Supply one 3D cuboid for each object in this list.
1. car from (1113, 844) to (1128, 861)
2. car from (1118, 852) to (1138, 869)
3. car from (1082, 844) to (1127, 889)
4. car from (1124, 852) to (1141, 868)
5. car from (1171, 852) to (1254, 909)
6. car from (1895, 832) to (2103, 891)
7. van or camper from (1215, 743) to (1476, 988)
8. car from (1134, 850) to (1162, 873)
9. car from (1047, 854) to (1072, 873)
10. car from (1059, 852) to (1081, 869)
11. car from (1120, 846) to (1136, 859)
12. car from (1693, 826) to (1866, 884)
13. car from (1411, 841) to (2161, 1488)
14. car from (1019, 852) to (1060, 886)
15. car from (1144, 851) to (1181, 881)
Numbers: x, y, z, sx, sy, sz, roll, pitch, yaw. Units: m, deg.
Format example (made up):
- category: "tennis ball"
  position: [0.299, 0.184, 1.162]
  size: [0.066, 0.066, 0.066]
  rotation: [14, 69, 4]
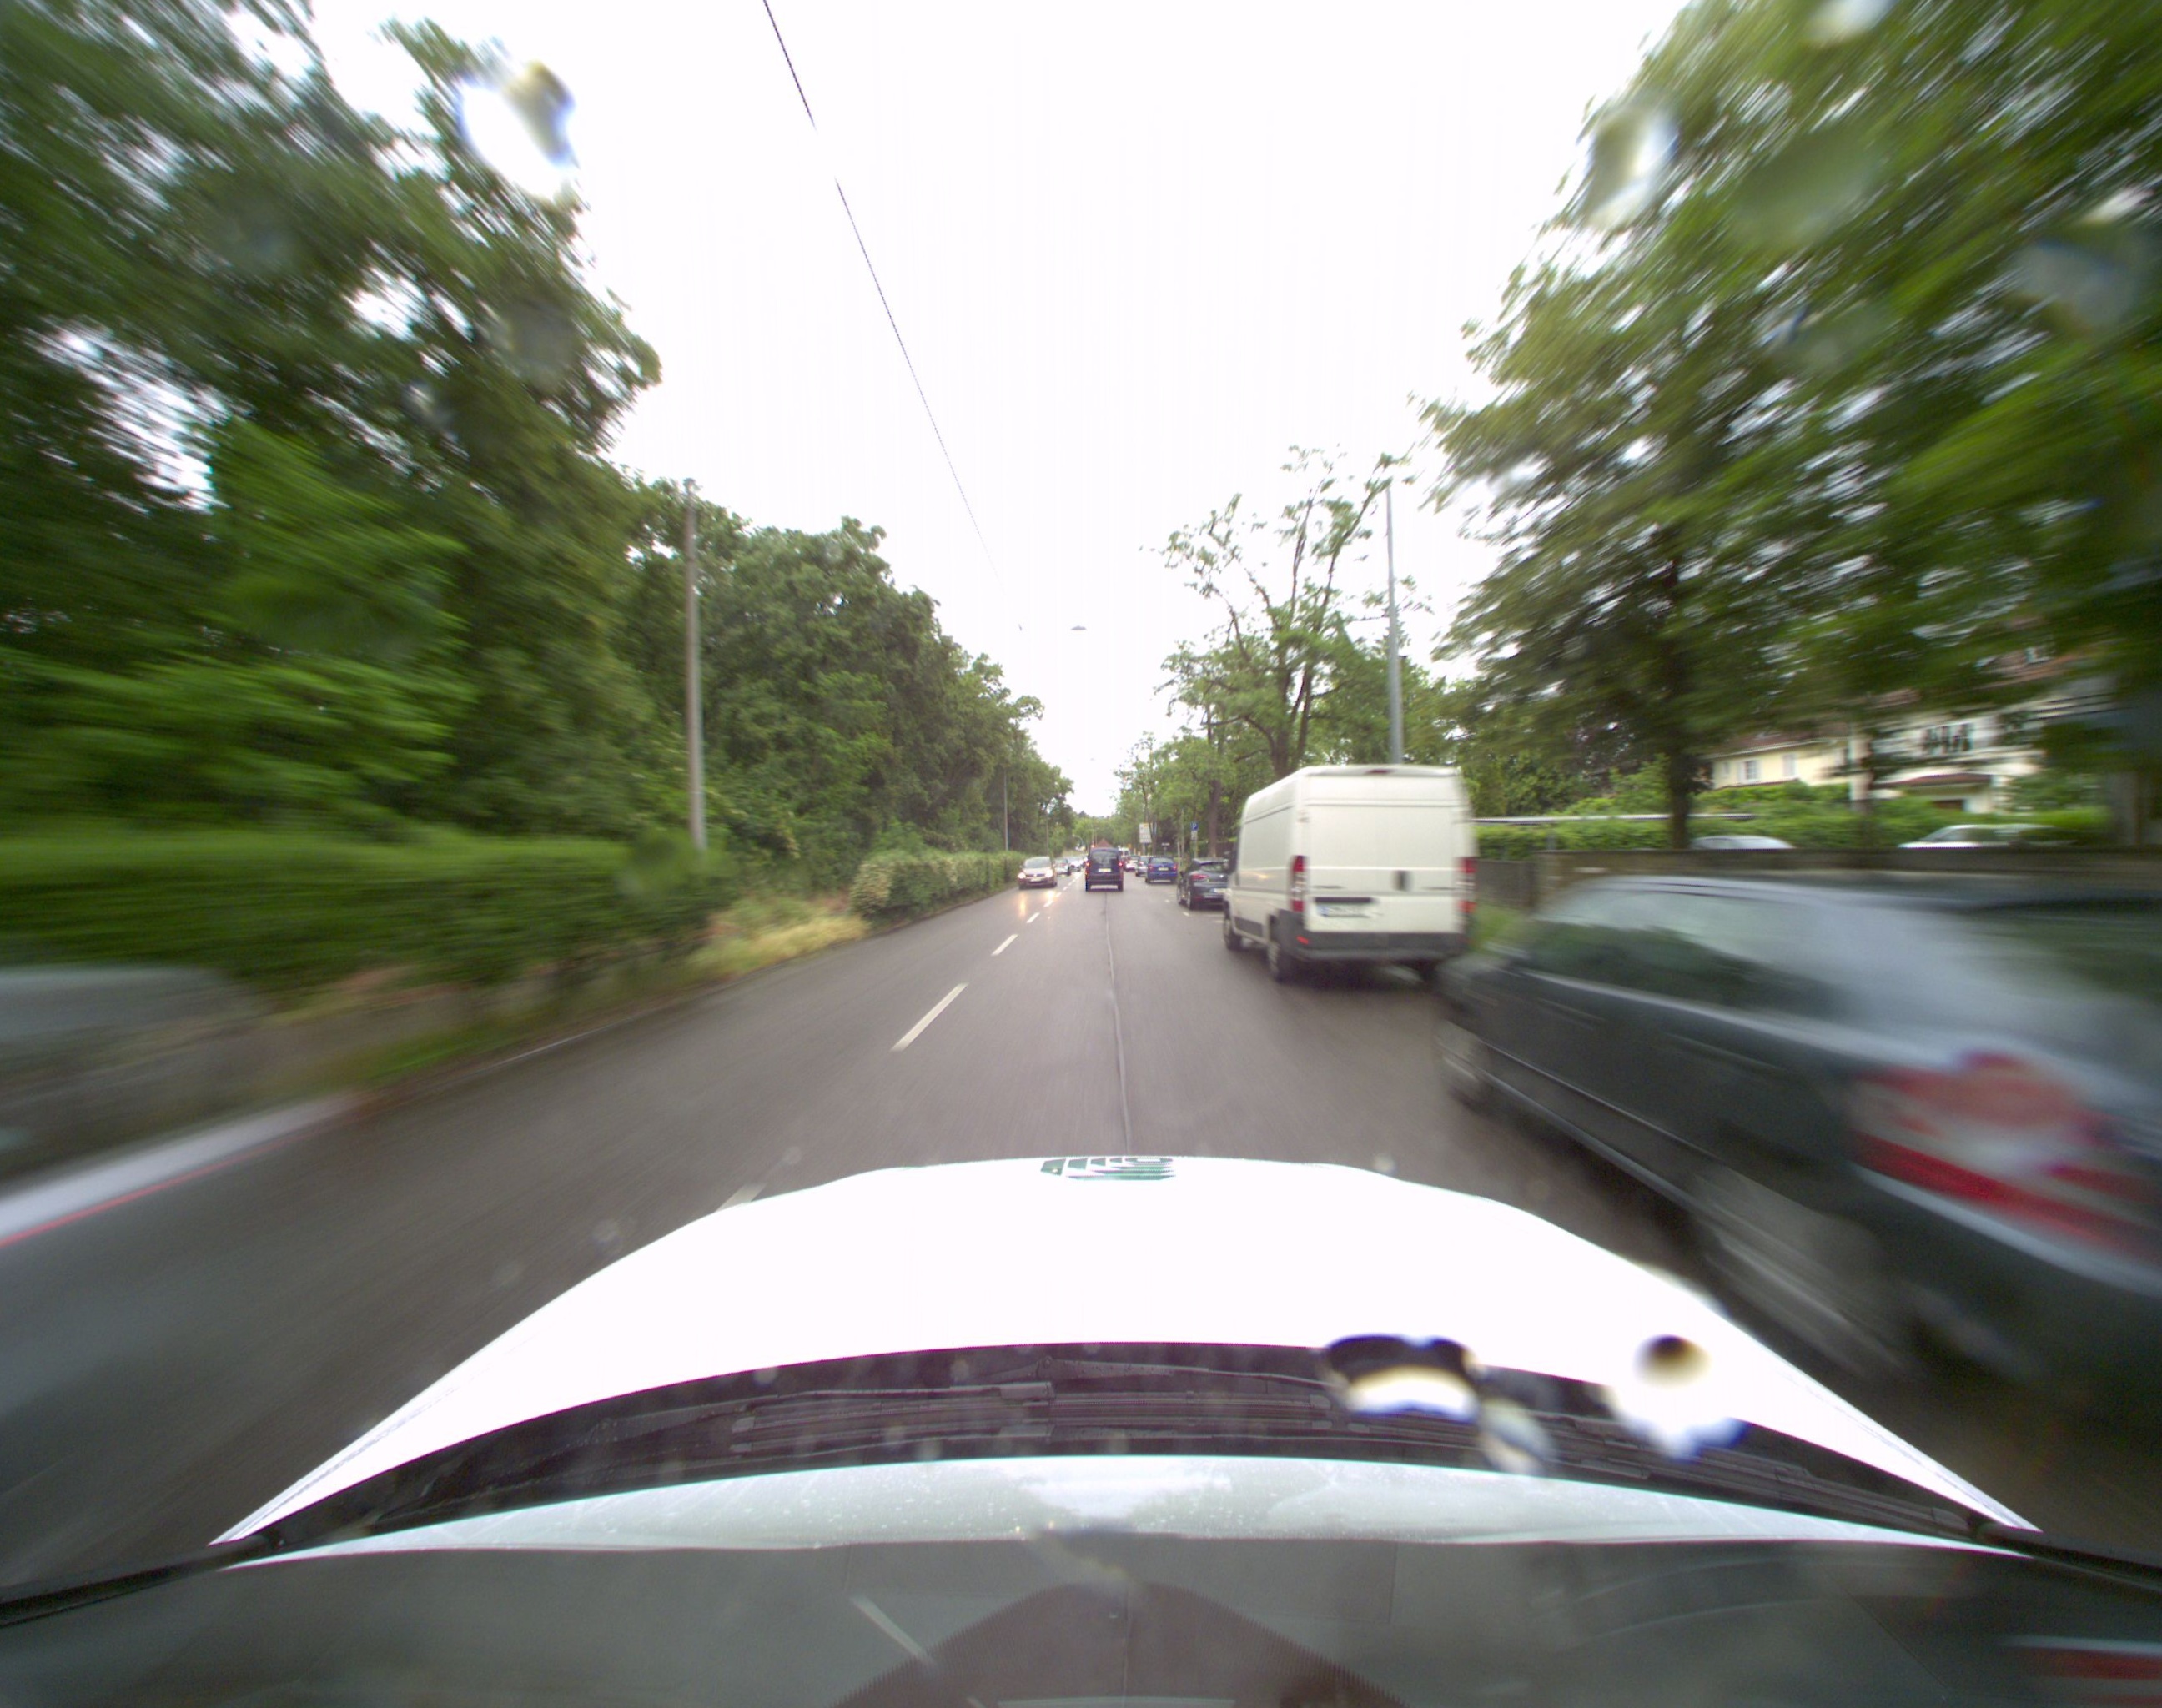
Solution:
- category: "car"
  position: [5.867, -0.236, 121.436]
  size: [2.197, 2.449, 4.731]
  rotation: [-2, 0, 1]
- category: "car"
  position: [4.224, 0.559, 73.670]
  size: [1.627, 1.509, 2.957]
  rotation: [0, 1, 0]
- category: "car"
  position: [0.987, 0.504, 35.420]
  size: [1.762, 1.830, 3.540]
  rotation: [0, 1, -2]
- category: "car"
  position: [5.056, 0.578, 79.901]
  size: [1.690, 1.524, 3.872]
  rotation: [0, 1, 4]
- category: "car"
  position: [3.745, 0.710, 23.833]
  size: [1.735, 1.479, 3.962]
  rotation: [0, 1, -1]
- category: "car"
  position: [26.133, 0.163, 23.420]
  size: [1.749, 1.532, 4.008]
  rotation: [0, 1, 6]
- category: "van or camper"
  position: [3.312, 0.085, 11.506]
  size: [2.071, 2.650, 5.348]
  rotation: [0, 1, 1]
- category: "car"
  position: [4.718, 0.487, 57.676]
  size: [1.613, 1.508, 3.834]
  rotation: [0, 1, 0]
- category: "car"
  position: [-1.646, 0.720, 63.863]
  size: [1.680, 1.356, 3.725]
  rotation: [-3, 1, 2]
- category: "car"
  position: [-1.086, 0.664, 81.373]
  size: [1.849, 1.468, 4.449]
  rotation: [-4, 1, 2]
- category: "car"
  position: [5.547, -0.220, 96.126]
  size: [1.692, 1.524, 3.868]
  rotation: [0, 0, 1]
- category: "car"
  position: [20.123, 0.000, 23.713]
  size: [1.751, 1.532, 4.002]
  rotation: [0, 1, 2]
- category: "car"
  position: [2.955, 0.676, 3.719]
  size: [1.618, 1.464, 3.813]
  rotation: [0, 1, 4]
- category: "car"
  position: [-2.041, 0.723, 41.152]
  size: [1.723, 1.492, 4.001]
  rotation: [-3, 1, 1]
- category: "car"
  position: [4.402, 0.613, 44.467]
  size: [1.714, 1.505, 4.052]
  rotation: [0, 1, 2]
